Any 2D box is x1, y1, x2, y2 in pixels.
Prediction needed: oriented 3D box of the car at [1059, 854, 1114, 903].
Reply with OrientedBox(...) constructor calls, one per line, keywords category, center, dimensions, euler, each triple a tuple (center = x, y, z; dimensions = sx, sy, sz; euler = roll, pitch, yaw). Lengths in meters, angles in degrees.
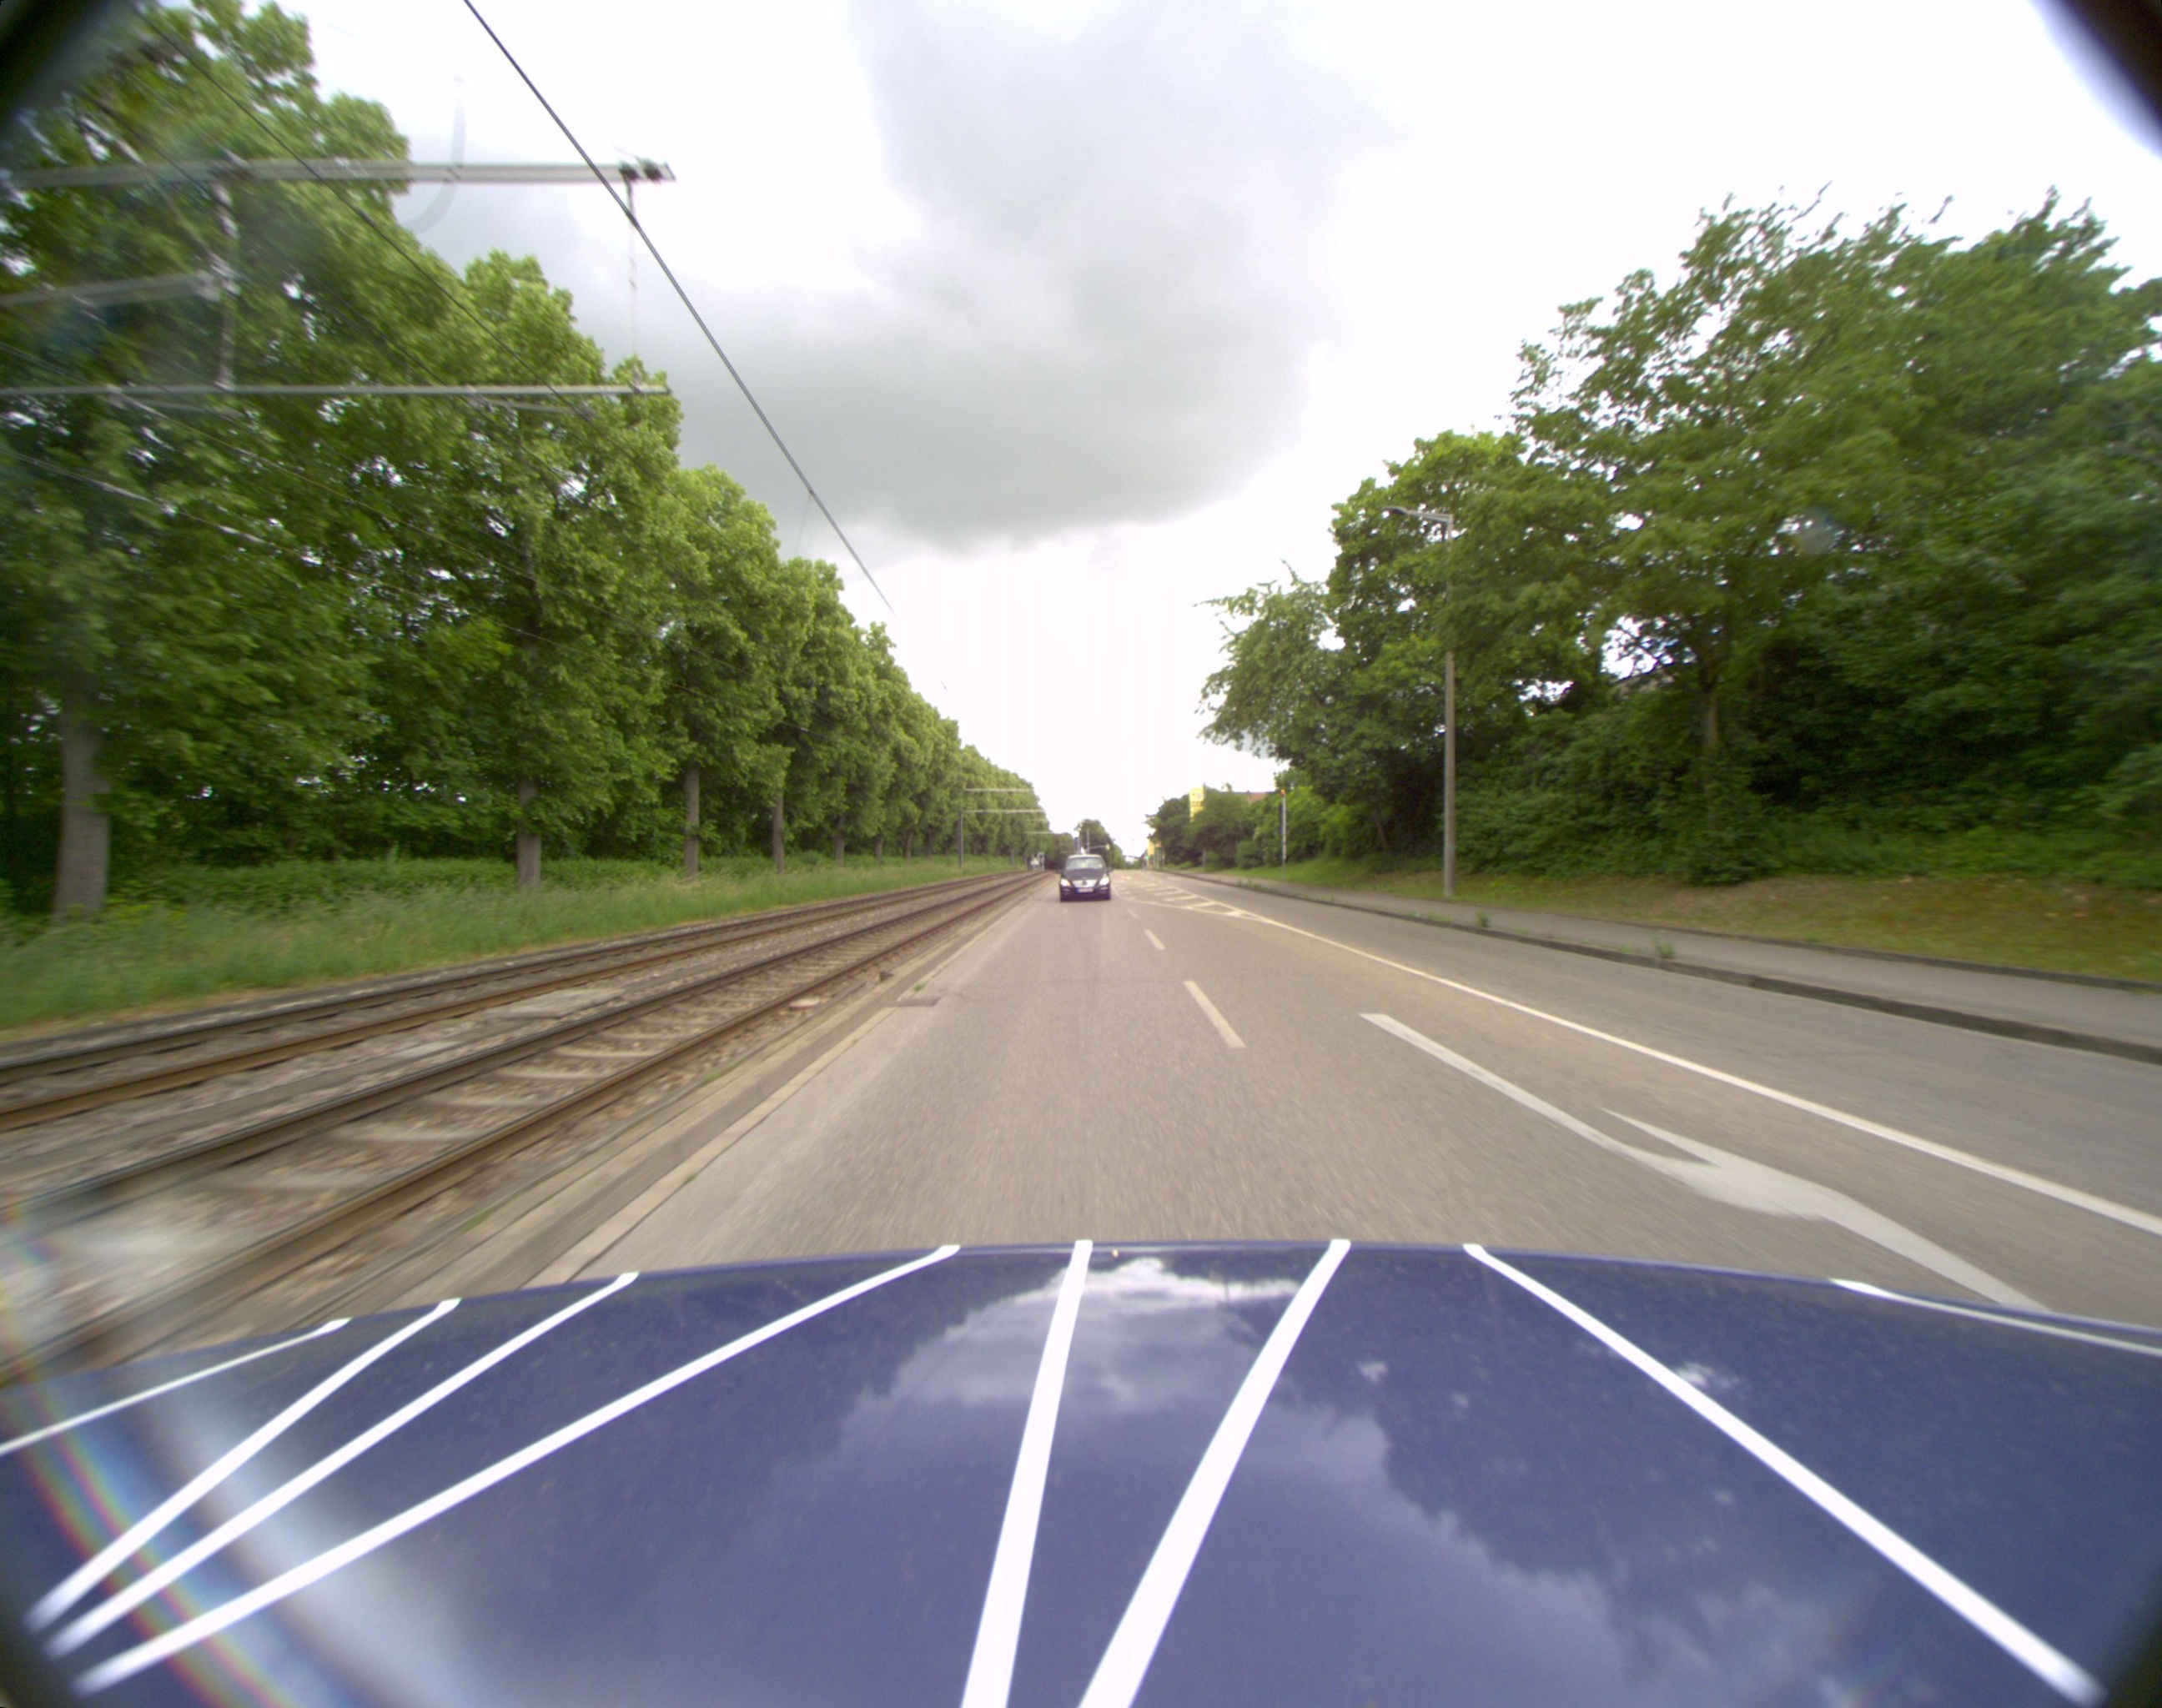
OrientedBox(category="car", center=(0.256, 0.812, 27.267), dimensions=(1.749, 1.558, 4.122), euler=(-2, 0, 2))
